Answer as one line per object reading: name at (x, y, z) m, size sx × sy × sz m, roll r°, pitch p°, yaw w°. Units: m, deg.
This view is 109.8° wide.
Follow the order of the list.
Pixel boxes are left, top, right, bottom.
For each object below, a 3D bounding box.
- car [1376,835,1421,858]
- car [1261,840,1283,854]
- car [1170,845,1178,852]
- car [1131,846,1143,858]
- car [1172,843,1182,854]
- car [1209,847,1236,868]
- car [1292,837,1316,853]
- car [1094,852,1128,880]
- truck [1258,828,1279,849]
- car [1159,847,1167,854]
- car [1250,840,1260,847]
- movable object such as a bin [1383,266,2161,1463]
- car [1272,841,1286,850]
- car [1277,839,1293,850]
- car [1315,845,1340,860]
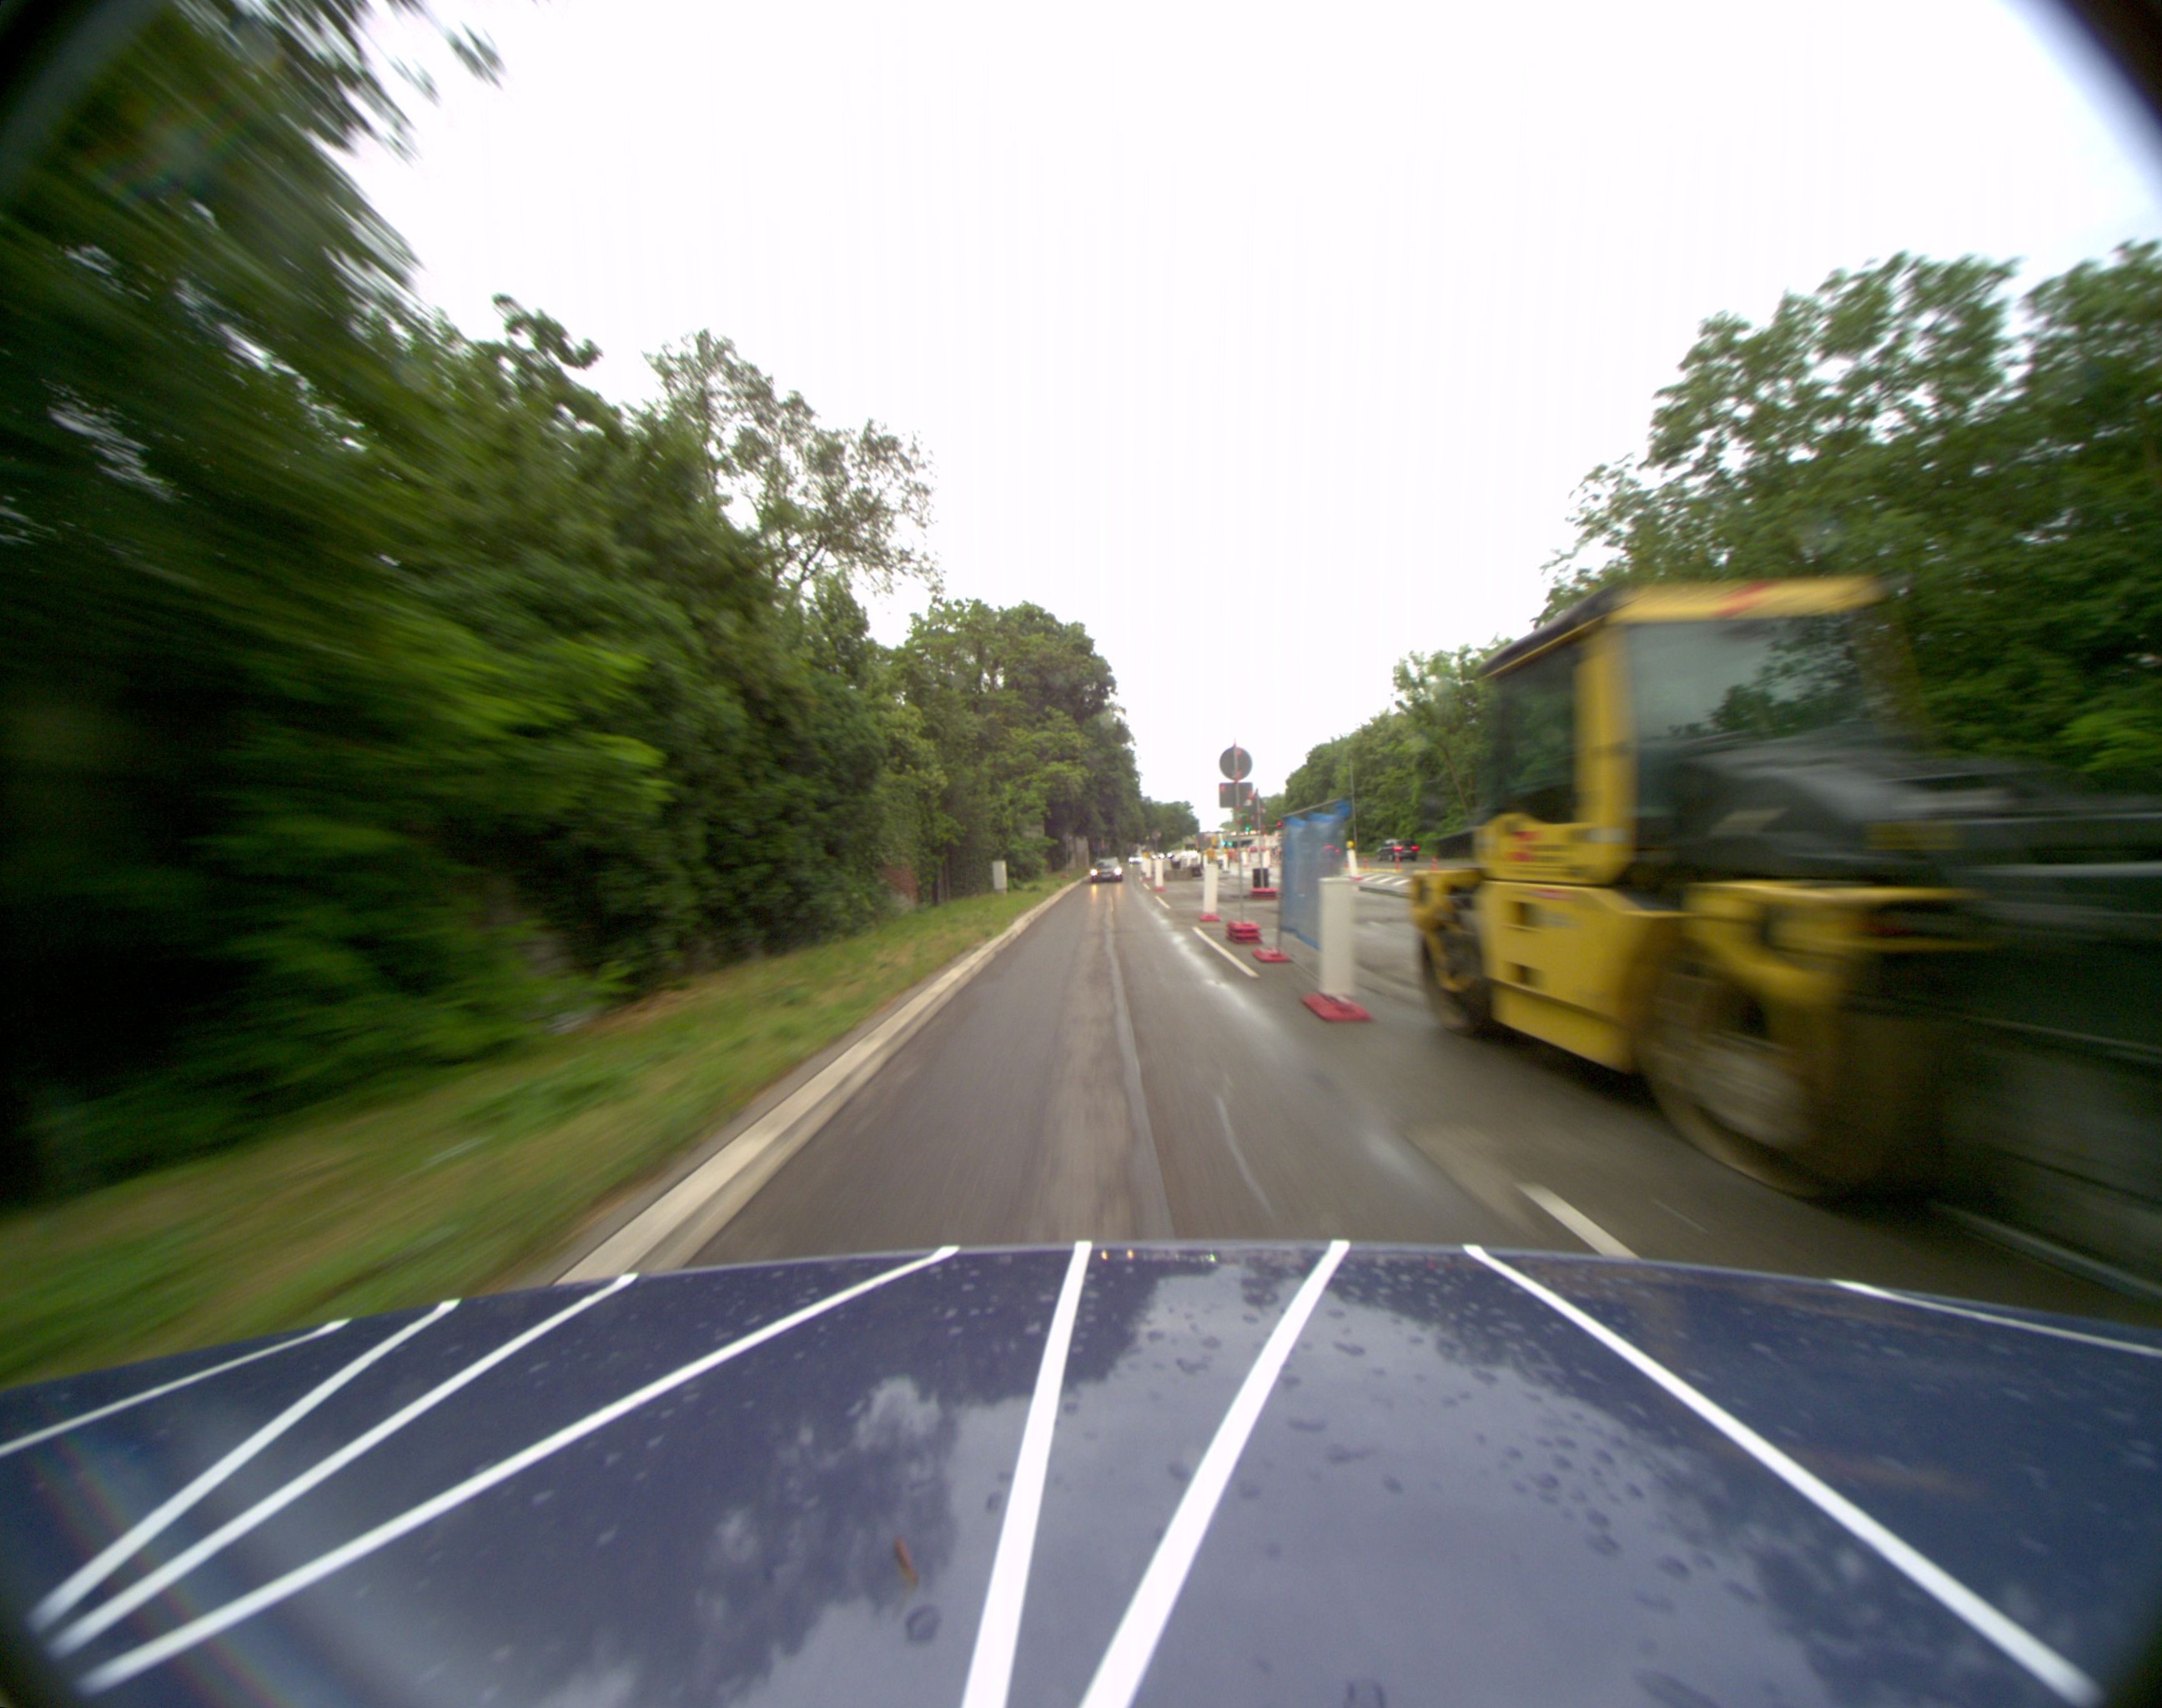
car at (23.990, -0.549, 57.625) m, size 1.678 × 1.604 × 4.768 m, roll -2°, pitch 0°, yaw 4°
car at (22.080, -0.782, 87.768) m, size 1.742 × 1.487 × 3.770 m, roll -2°, pitch 0°, yaw 3°
car at (20.668, -1.133, 169.458) m, size 1.710 × 1.434 × 4.232 m, roll -2°, pitch 1°, yaw 7°
car at (8.308, -0.302, 112.861) m, size 1.707 × 1.681 × 4.472 m, roll -2°, pitch 1°, yaw 4°
car at (17.589, -0.974, 138.700) m, size 1.693 × 1.833 × 4.584 m, roll -2°, pitch 1°, yaw 7°
car at (12.079, 0.282, 65.084) m, size 1.793 × 1.575 × 3.862 m, roll -4°, pitch 0°, yaw 4°
car at (23.747, -0.979, 81.035) m, size 1.678 × 1.604 × 3.770 m, roll -2°, pitch 0°, yaw 4°
car at (1.806, 0.661, 44.543) m, size 1.701 × 1.477 × 4.001 m, roll -2°, pitch 1°, yaw 6°
truck at (37.817, -3.130, 153.633) m, size 3.149 × 3.809 × 9.650 m, roll -2°, pitch 1°, yaw 8°
car at (19.432, -0.848, 180.289) m, size 1.710 × 1.434 × 4.233 m, roll -2°, pitch 1°, yaw 8°
car at (39.430, -2.300, 172.354) m, size 1.865 × 1.487 × 4.179 m, roll -2°, pitch 0°, yaw 7°
movable object such as a bin at (3.640, 0.003, 4.256) m, size 1.808 × 2.968 × 5.245 m, roll -3°, pitch 1°, yaw 2°
car at (35.371, -1.563, 135.769) m, size 1.907 × 1.487 × 3.772 m, roll -2°, pitch 0°, yaw 9°
car at (31.225, -1.445, 116.416) m, size 1.678 × 1.487 × 3.771 m, roll -2°, pitch 0°, yaw 6°
car at (26.470, -0.184, 81.644) m, size 1.624 × 1.475 × 3.608 m, roll -2°, pitch 0°, yaw 4°
